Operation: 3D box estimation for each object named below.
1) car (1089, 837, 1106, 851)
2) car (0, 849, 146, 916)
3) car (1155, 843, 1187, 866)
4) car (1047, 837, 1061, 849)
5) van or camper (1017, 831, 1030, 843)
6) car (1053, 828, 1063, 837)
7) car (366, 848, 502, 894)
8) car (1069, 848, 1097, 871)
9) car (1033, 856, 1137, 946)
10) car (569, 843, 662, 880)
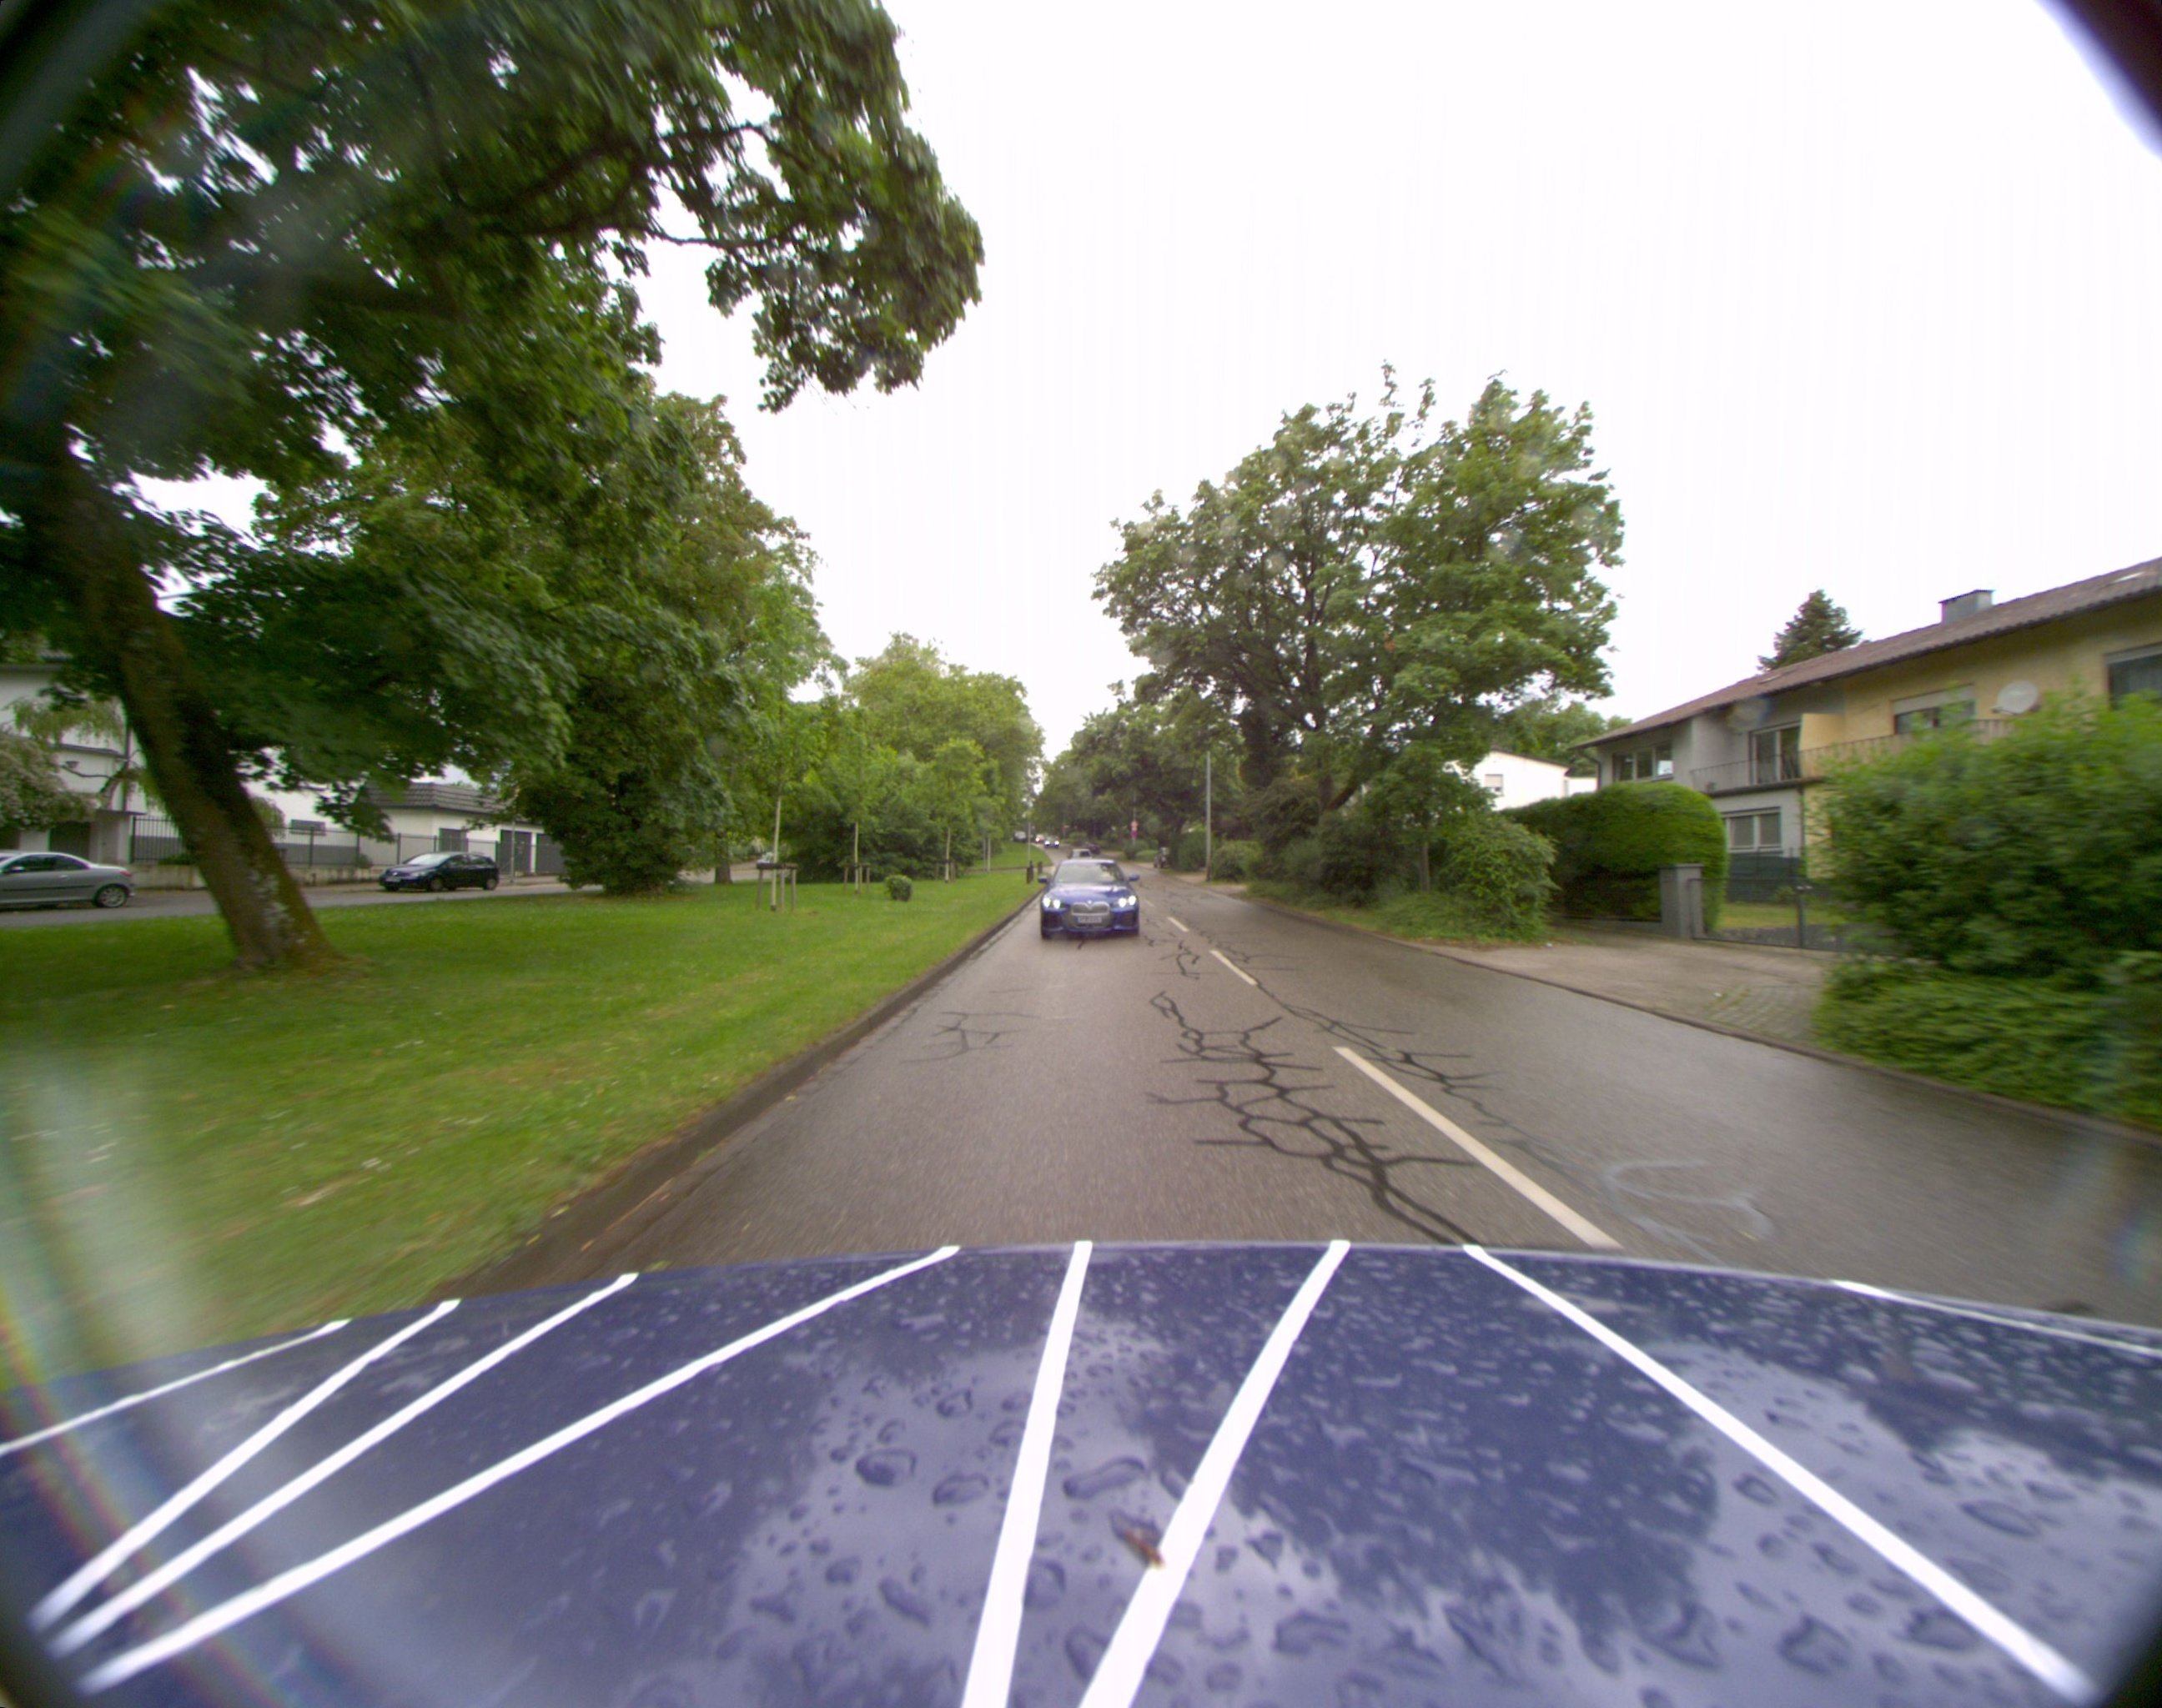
[{"bbox_3d":[1.901,-1.205,90.285,1.759,1.356,4.322,2,3,-1],"label":"car"},{"bbox_3d":[-23.929,0.603,16.908,1.686,1.367,3.708,2,0,-2],"label":"car"},{"bbox_3d":[6.836,0.016,58.048,1.668,1.533,4.281,-3,2,-3],"label":"car"},{"bbox_3d":[-3.763,-1.556,106.298,1.678,1.542,3.832,1,1,1],"label":"car"},{"bbox_3d":[-9.534,-2.898,125.312,2.000,1.858,5.659,1,2,-7],"label":"van or camper"},{"bbox_3d":[-4.131,-3.816,136.855,1.694,1.389,4.486,0,4,-2],"label":"car"},{"bbox_3d":[-24.676,0.602,29.200,1.907,1.615,4.033,1,1,-2],"label":"car"},{"bbox_3d":[0.135,0.363,51.089,1.796,1.458,4.510,0,0,1],"label":"car"},{"bbox_3d":[0.167,0.843,15.708,1.796,1.459,4.509,-1,1,2],"label":"car"},{"bbox_3d":[-25.332,0.370,41.606,2.165,1.868,5.068,1,1,-2],"label":"car"}]
